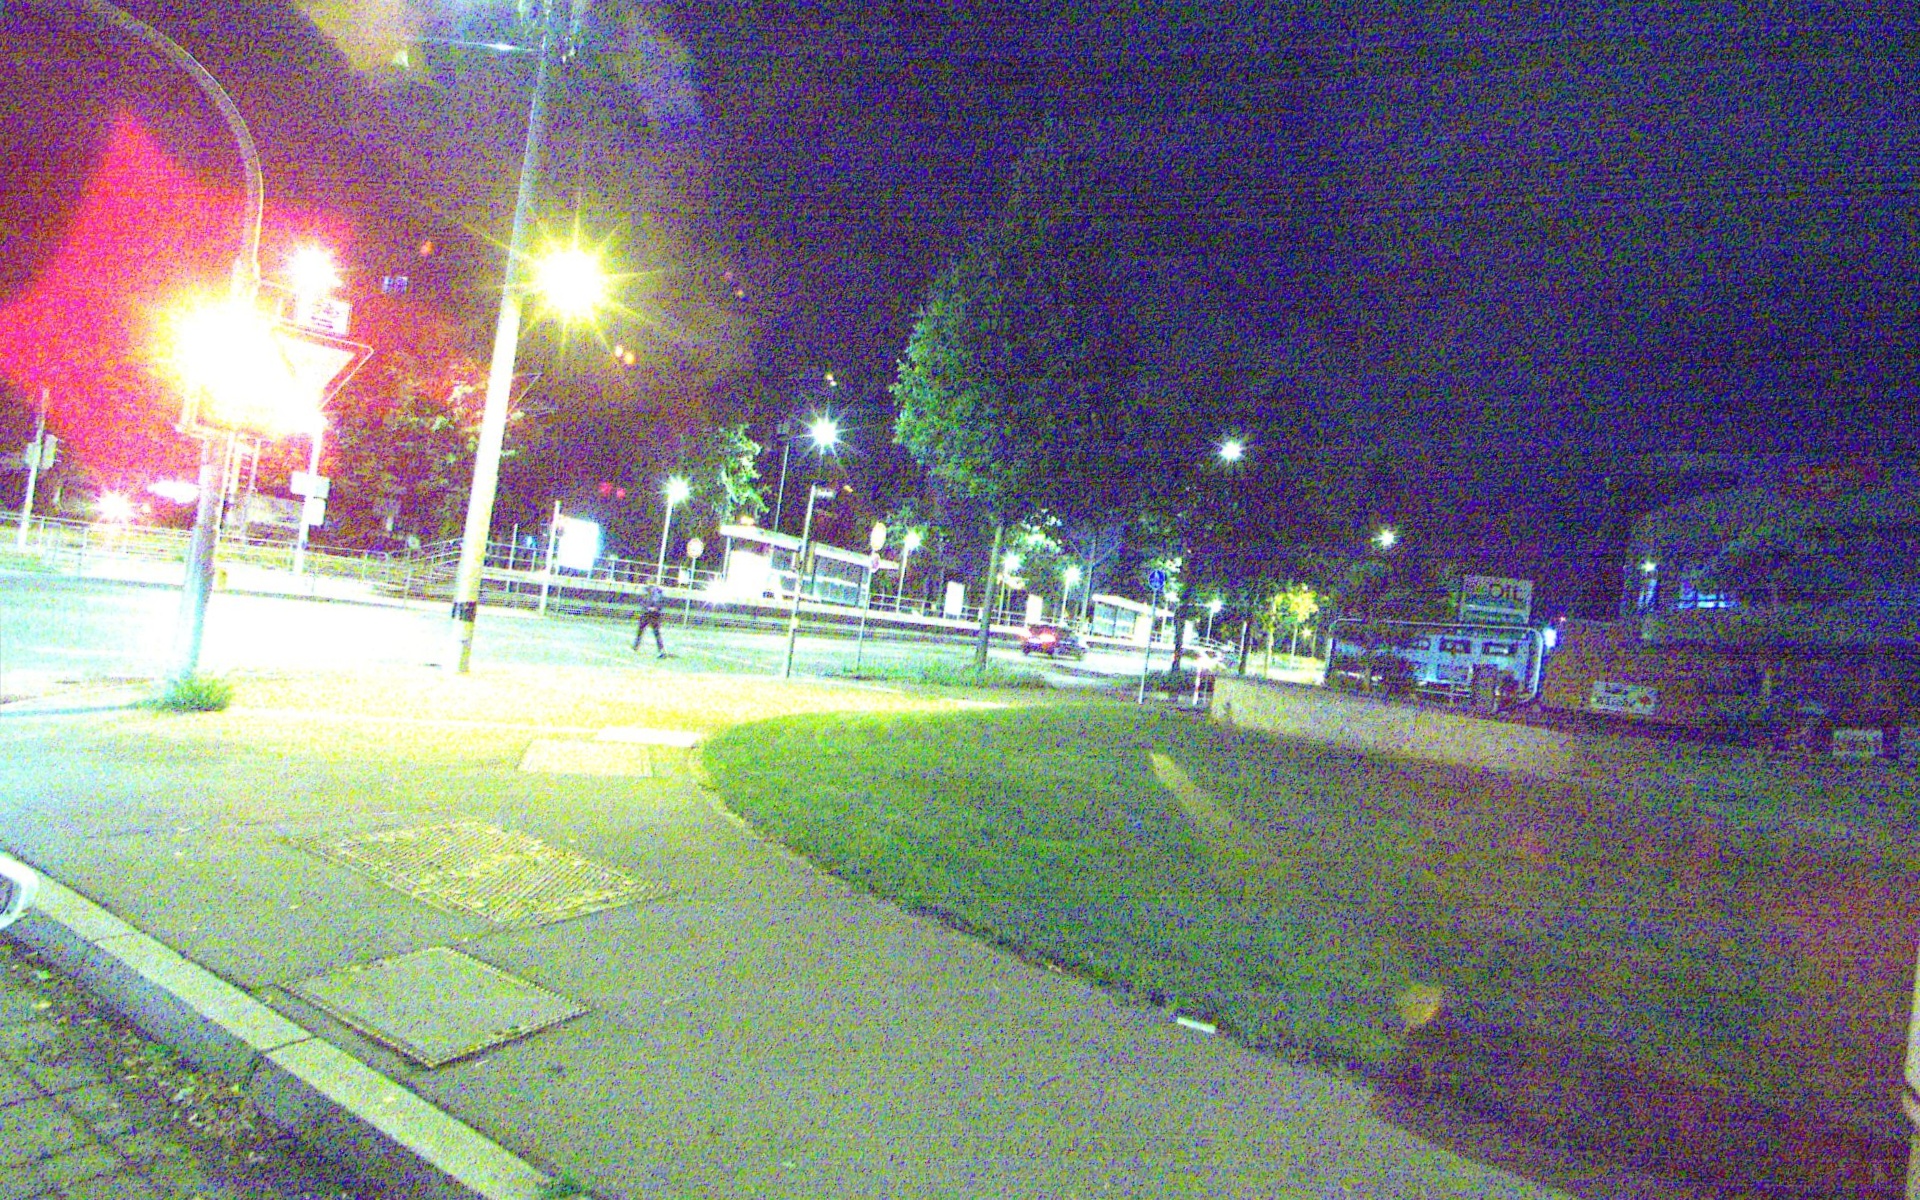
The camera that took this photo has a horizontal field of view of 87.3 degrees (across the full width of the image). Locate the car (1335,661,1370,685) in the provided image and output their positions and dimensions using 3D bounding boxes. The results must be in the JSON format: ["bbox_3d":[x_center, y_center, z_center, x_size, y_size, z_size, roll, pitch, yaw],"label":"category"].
[{"bbox_3d":[33.847,6.299,86.671,1.844,1.703,4.288,9,0,32],"label":"car"}]

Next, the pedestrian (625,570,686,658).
[{"bbox_3d":[-6.450,0.297,21.316,0.820,1.767,0.755,6,1,31],"label":"pedestrian"}]

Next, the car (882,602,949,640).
[{"bbox_3d":[-2.721,1.332,62.632,1.970,2.039,3.985,6,0,36],"label":"car"}]

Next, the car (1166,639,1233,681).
[{"bbox_3d":[11.807,2.944,49.453,1.780,1.684,3.988,10,3,33],"label":"car"}]

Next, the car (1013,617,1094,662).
[{"bbox_3d":[4.614,1.931,48.967,1.834,1.679,4.449,9,0,35],"label":"car"}]
